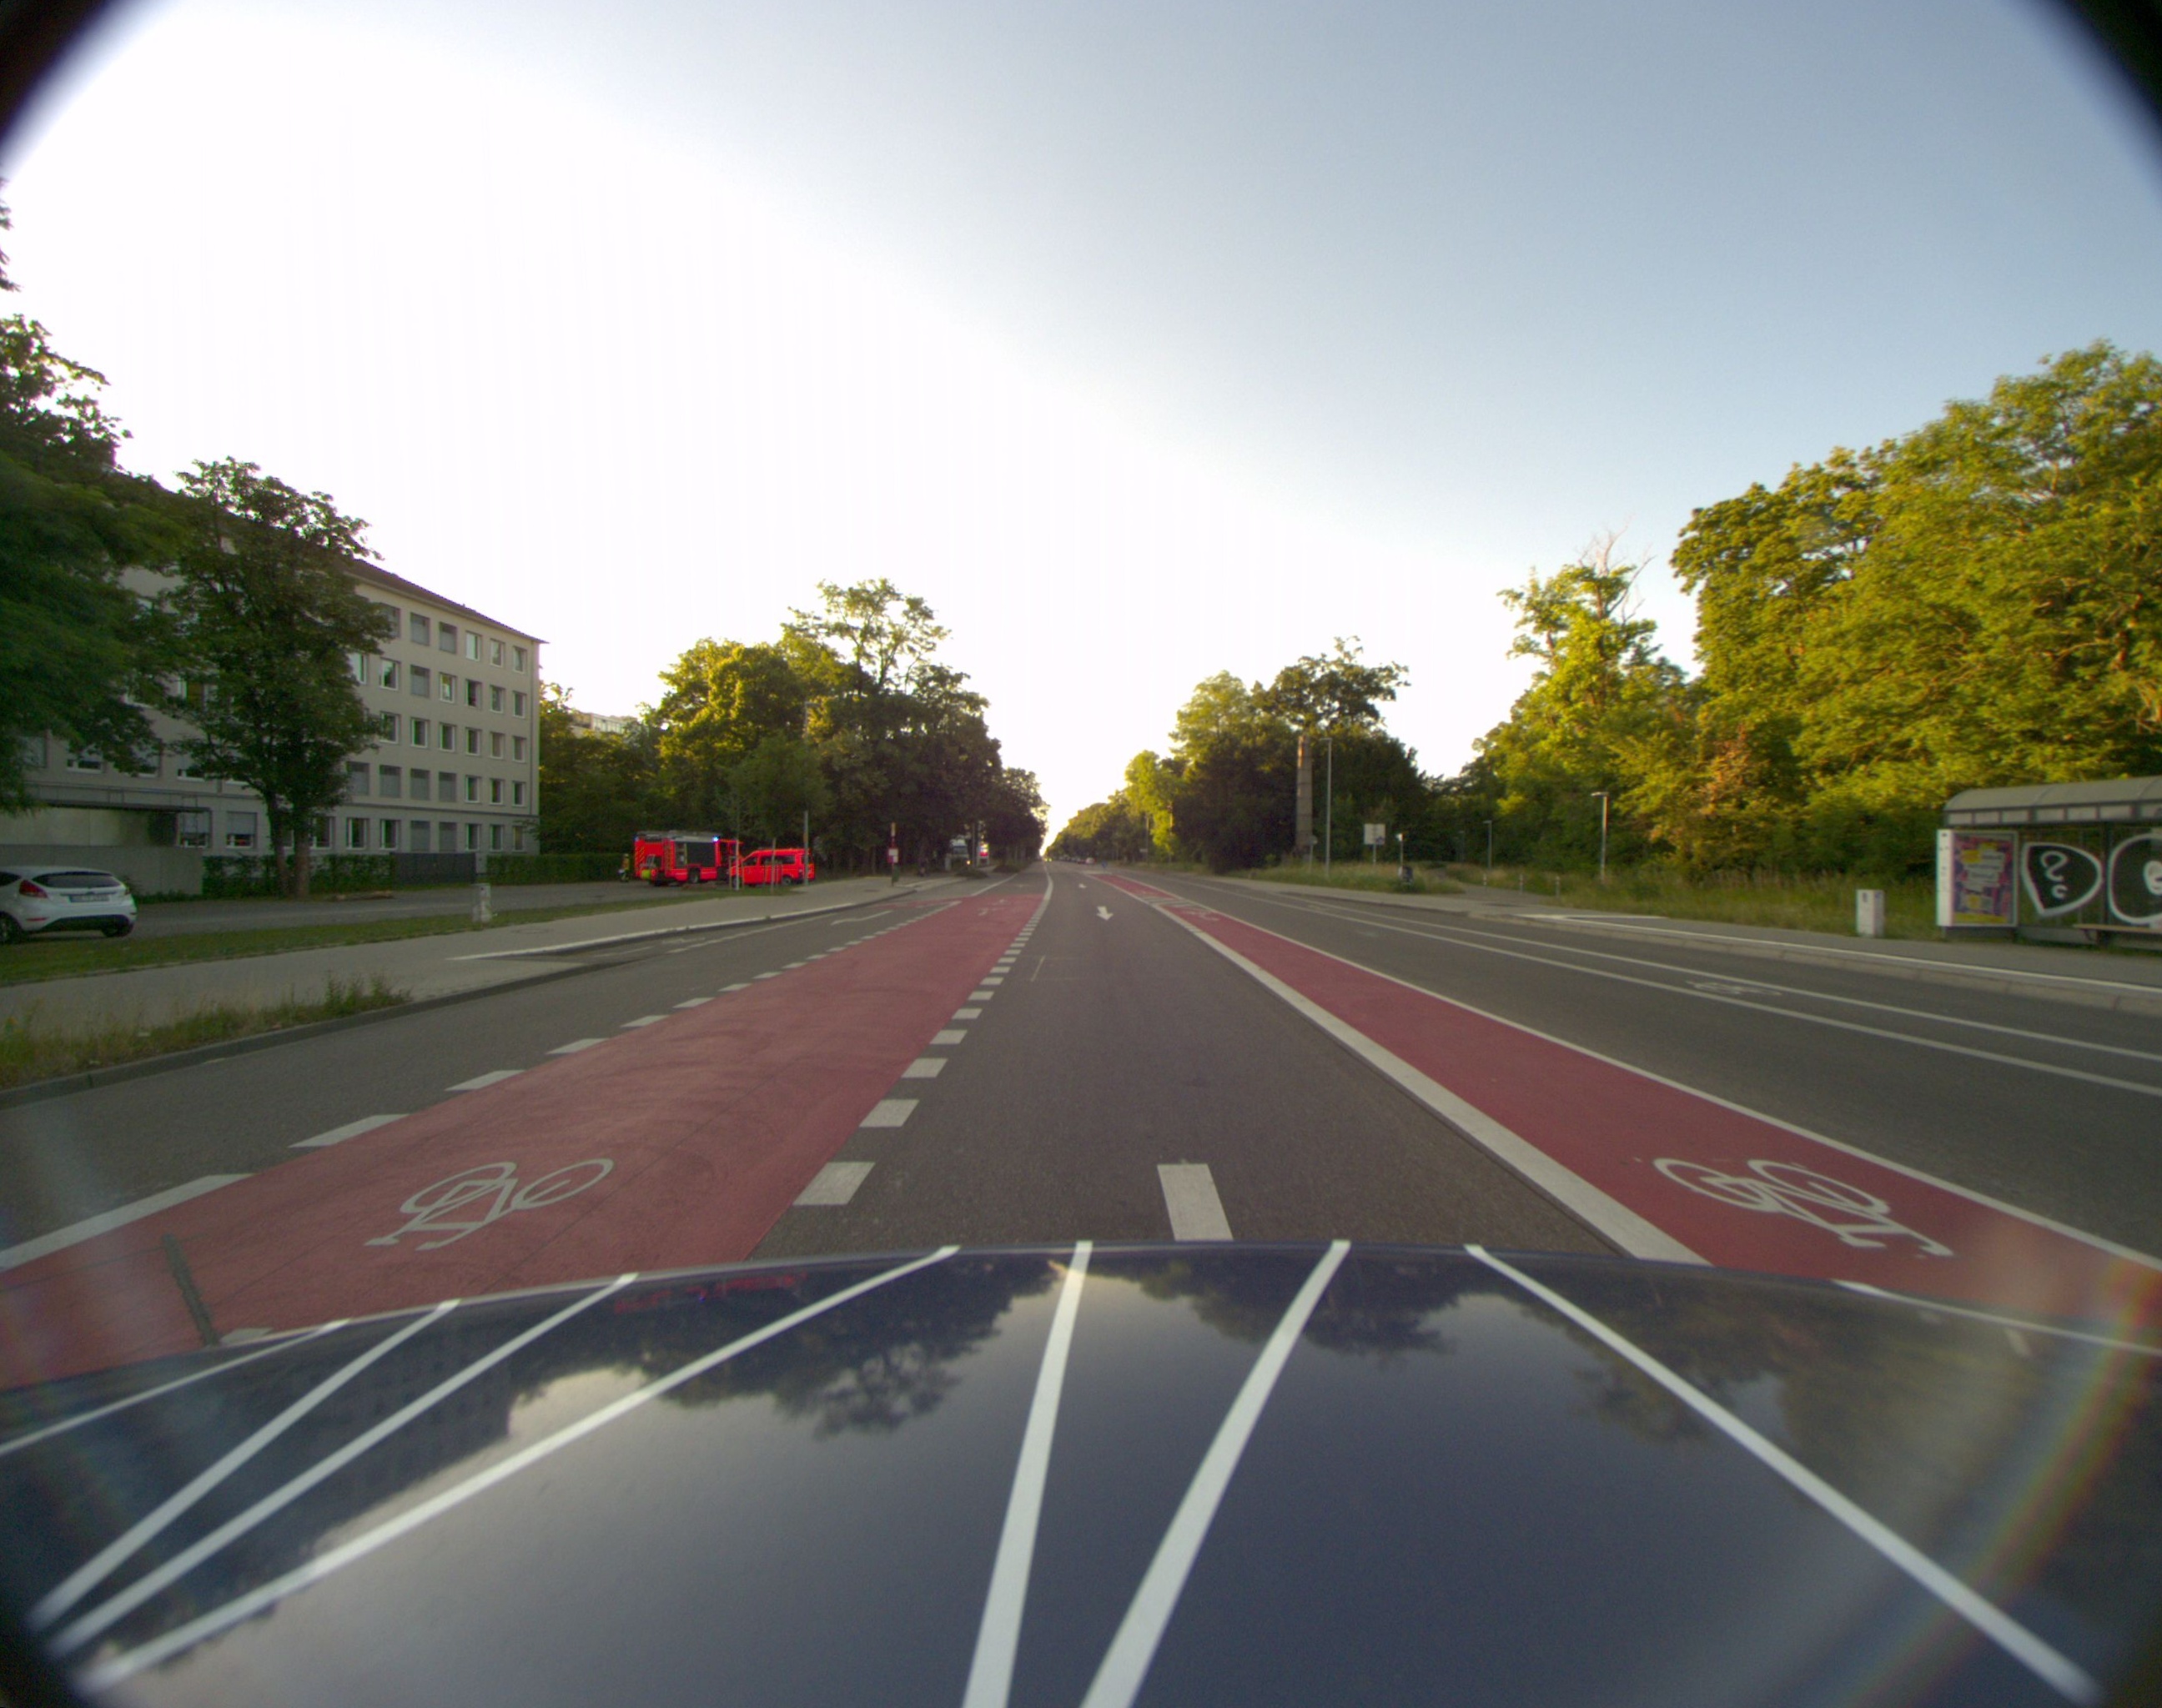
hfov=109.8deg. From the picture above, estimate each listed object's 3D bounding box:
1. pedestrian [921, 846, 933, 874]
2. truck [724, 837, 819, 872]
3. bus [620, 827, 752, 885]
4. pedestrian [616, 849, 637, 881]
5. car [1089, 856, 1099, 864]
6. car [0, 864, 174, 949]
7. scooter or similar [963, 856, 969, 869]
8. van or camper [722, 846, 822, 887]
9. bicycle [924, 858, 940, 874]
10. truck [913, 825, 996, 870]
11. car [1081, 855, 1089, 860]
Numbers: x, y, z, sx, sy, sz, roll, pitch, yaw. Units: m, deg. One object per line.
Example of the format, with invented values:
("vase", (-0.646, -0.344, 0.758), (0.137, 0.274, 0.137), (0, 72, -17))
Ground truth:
("pedestrian", (-11.178, 0.445, 55.015), (0.725, 2.002, 0.695), (0, 1, -1))
("truck", (-29.765, 0.034, 73.145), (8.645, 3.192, 2.765), (0, 0, 17))
("bus", (-23.690, 0.075, 46.198), (2.993, 3.177, 7.969), (-1, 0, 8))
("pedestrian", (-29.222, 0.696, 48.873), (0.772, 2.002, 0.826), (0, 1, 9))
("car", (2.911, 1.308, 165.694), (1.851, 1.406, 4.178), (-4, 1, -2))
("car", (-20.953, 1.001, 15.000), (3.995, 1.528, 1.912), (-1, 0, 4))
("scooter or similar", (-12.178, 0.883, 80.480), (0.483, 1.274, 1.230), (2, 0, -8))
("van or camper", (-17.758, 0.717, 43.822), (4.822, 2.231, 2.296), (-1, 1, 9))
("bicycle", (-10.702, 0.832, 54.517), (0.832, 1.091, 1.968), (-2, 0, -3))
("truck", (-16.875, -0.813, 99.785), (5.168, 5.541, 15.045), (0, 0, -33))
("car", (0.924, 0.852, 182.228), (1.754, 1.299, 3.999), (1, 0, -2))
